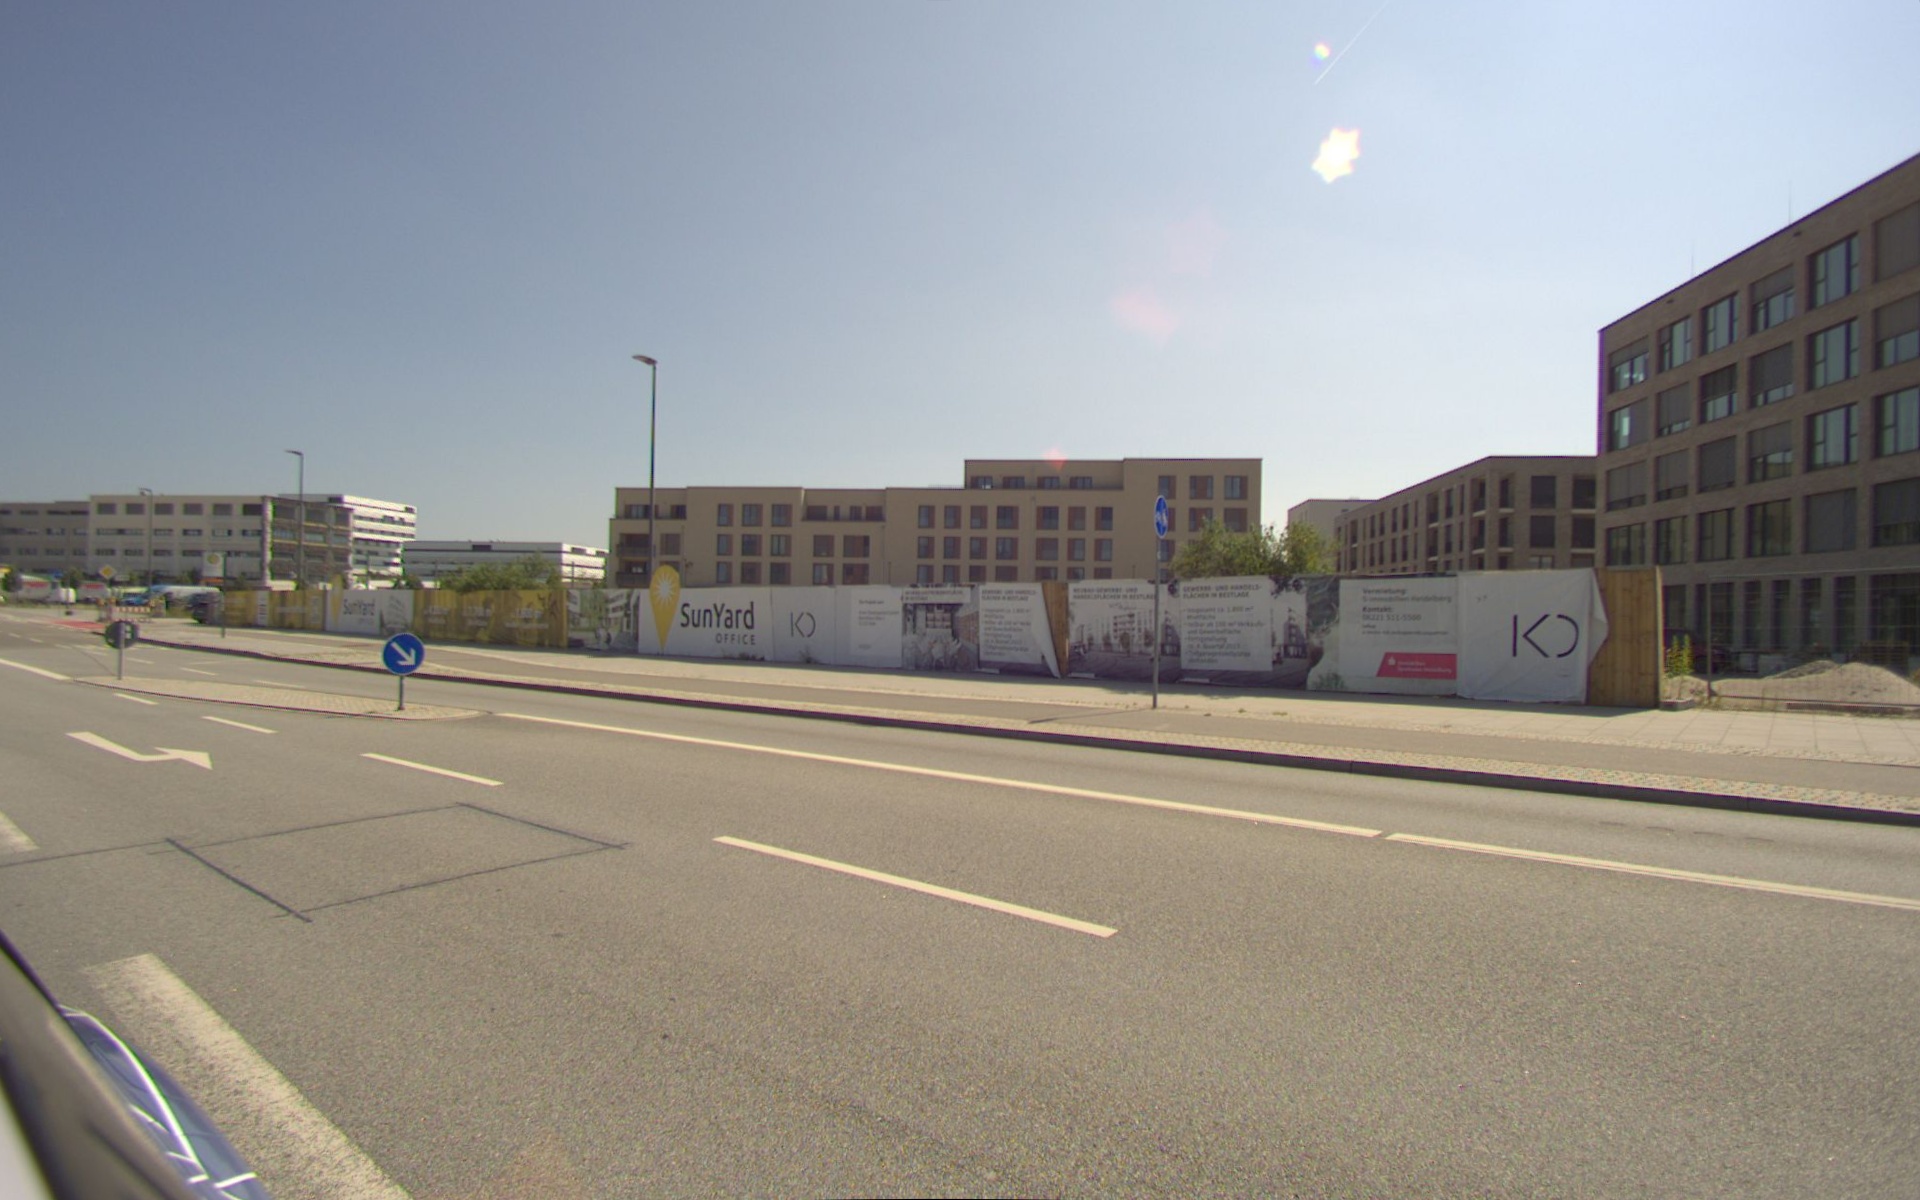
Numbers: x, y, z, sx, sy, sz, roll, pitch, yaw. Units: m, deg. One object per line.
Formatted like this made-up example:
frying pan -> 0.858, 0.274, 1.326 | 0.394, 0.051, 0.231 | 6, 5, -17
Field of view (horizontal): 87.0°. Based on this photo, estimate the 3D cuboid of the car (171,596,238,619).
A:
car -> -60.291, 0.587, 80.797 | 1.888, 1.731, 3.885 | 0, 1, 35

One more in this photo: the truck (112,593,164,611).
truck -> -114.855, 0.277, 141.399 | 1.996, 2.494, 5.270 | 0, 1, 36

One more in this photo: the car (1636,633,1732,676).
car -> 32.043, 2.369, 44.907 | 1.814, 1.666, 3.772 | -1, 0, 7

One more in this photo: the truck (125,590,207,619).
truck -> -72.451, 0.369, 92.387 | 1.996, 2.494, 5.567 | 0, 1, 36

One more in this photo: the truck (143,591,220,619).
truck -> -67.115, 0.408, 87.276 | 1.998, 2.245, 4.942 | 0, 1, 39

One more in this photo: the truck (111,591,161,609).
truck -> -120.183, 0.006, 147.569 | 1.998, 2.494, 5.346 | 0, 1, 38

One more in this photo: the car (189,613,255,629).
car -> -48.292, 1.343, 66.224 | 1.293, 0.960, 3.315 | 0, 1, 43
